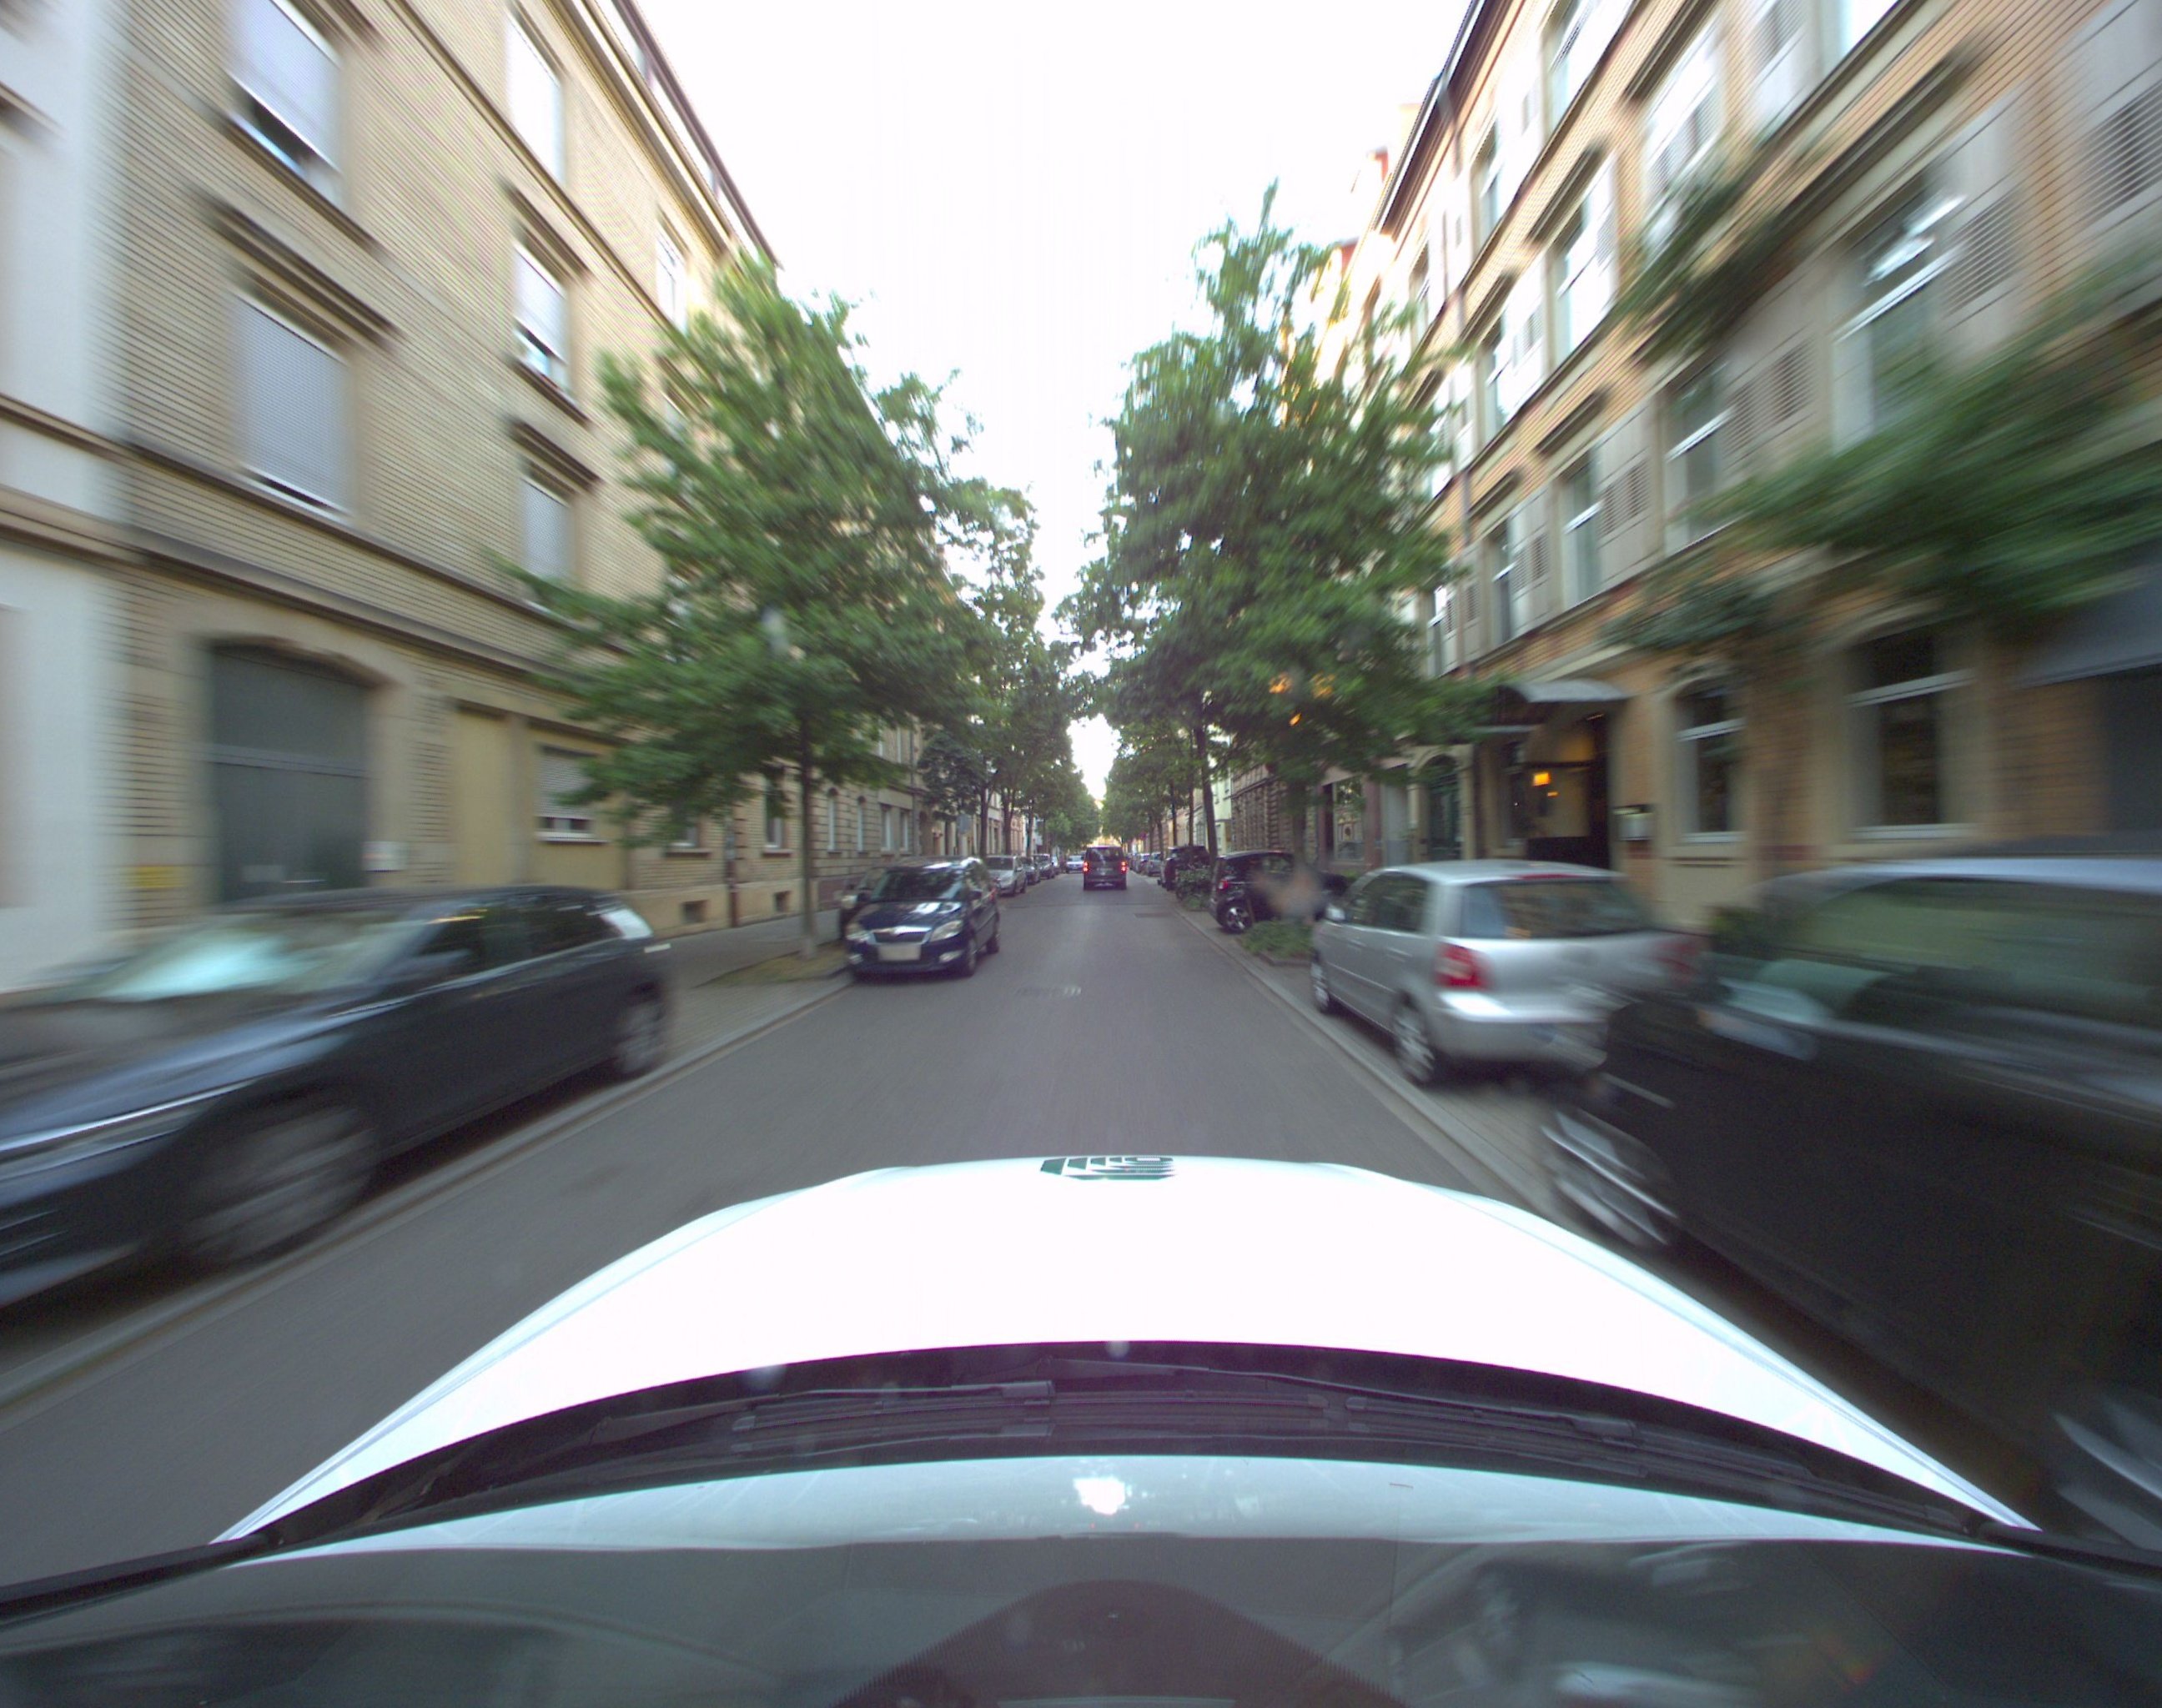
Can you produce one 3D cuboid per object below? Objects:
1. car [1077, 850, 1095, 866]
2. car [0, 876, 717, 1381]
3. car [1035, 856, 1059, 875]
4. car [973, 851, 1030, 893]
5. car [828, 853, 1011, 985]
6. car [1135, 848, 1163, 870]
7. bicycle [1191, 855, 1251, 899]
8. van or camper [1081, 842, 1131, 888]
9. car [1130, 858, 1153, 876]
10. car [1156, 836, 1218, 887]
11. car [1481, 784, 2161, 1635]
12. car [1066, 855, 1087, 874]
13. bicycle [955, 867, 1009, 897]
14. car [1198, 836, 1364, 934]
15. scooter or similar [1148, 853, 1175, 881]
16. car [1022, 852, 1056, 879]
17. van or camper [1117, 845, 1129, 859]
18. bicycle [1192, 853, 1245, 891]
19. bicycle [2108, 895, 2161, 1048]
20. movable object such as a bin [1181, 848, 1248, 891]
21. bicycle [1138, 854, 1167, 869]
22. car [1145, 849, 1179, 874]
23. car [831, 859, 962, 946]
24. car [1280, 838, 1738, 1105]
[{"bbox_3d":[0.503,0.408,84.820,1.658,1.563,3.998,-3,0,-1],"label":"car"},{"bbox_3d":[-3.986,0.946,4.697,1.761,1.462,4.259,-2,0,1],"label":"car"},{"bbox_3d":[-2.623,0.878,62.748,1.581,1.437,3.567,0,0,1],"label":"car"},{"bbox_3d":[-3.173,0.682,33.132,1.669,1.607,3.865,-1,0,4],"label":"car"},{"bbox_3d":[-2.195,0.801,12.234,1.717,1.573,4.221,-2,0,2],"label":"car"},{"bbox_3d":[5.032,0.359,60.640,1.711,1.476,4.368,-4,0,0],"label":"car"},{"bbox_3d":[4.550,0.736,26.574,1.755,1.294,0.802,-4,0,1],"label":"bicycle"},{"bbox_3d":[1.166,0.466,36.424,2.026,1.897,4.275,-2,0,4],"label":"van or camper"},{"bbox_3d":[5.201,1.114,70.931,1.760,1.415,4.476,-4,0,2],"label":"car"},{"bbox_3d":[4.340,0.277,34.021,2.006,1.833,4.813,-4,0,2],"label":"car"},{"bbox_3d":[2.761,0.626,2.428,1.586,1.560,3.123,-2,0,0],"label":"car"},{"bbox_3d":[-0.323,0.832,67.561,1.574,1.420,3.754,-2,0,1],"label":"car"},{"bbox_3d":[-3.617,1.018,29.731,1.869,1.060,0.593,0,0,-18],"label":"bicycle"},{"bbox_3d":[3.883,0.583,16.180,2.787,1.599,1.801,-5,0,2],"label":"car"},{"bbox_3d":[3.781,0.612,38.264,0.667,1.190,1.123,-5,-1,41],"label":"scooter or similar"},{"bbox_3d":[-2.617,0.672,51.588,1.699,1.580,4.081,0,1,3],"label":"car"},{"bbox_3d":[8.418,-0.366,162.857,1.987,2.599,5.424,-2,0,1],"label":"van or camper"},{"bbox_3d":[4.603,0.598,27.390,1.688,1.198,0.583,-2,0,4],"label":"bicycle"},{"bbox_3d":[6.434,0.686,4.149,0.444,0.859,1.548,-2,0,1],"label":"bicycle"},{"bbox_3d":[4.707,0.552,28.884,2.206,1.305,0.771,-5,0,4],"label":"movable object such as a bin"},{"bbox_3d":[5.080,0.531,57.737,1.922,0.982,0.634,-2,0,-20],"label":"bicycle"},{"bbox_3d":[5.076,0.427,51.349,1.752,1.463,4.309,-3,0,1],"label":"car"},{"bbox_3d":[-3.531,0.864,16.218,1.685,1.501,3.712,-1,0,1],"label":"car"},{"bbox_3d":[2.995,0.675,6.801,1.727,1.491,4.106,-2,0,2],"label":"car"}]
